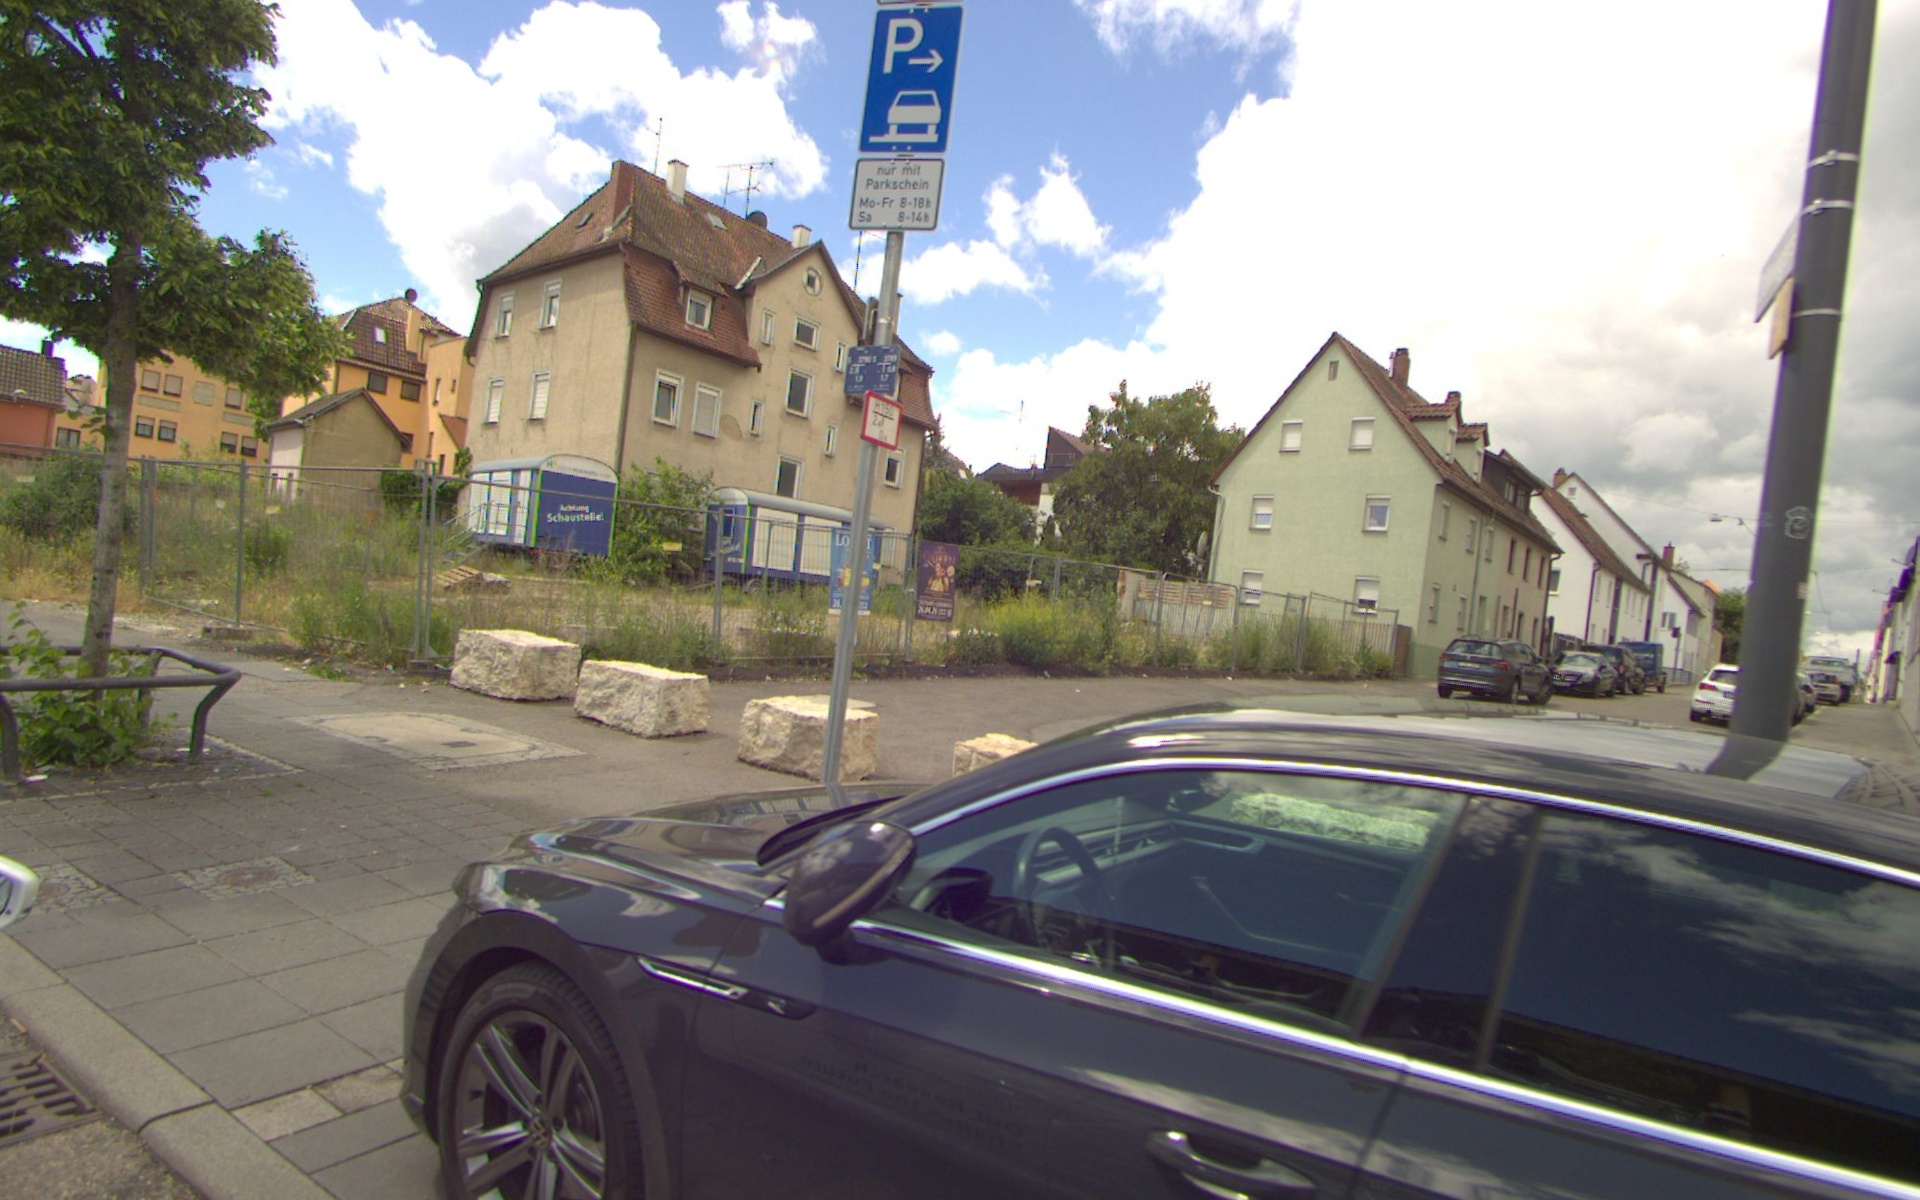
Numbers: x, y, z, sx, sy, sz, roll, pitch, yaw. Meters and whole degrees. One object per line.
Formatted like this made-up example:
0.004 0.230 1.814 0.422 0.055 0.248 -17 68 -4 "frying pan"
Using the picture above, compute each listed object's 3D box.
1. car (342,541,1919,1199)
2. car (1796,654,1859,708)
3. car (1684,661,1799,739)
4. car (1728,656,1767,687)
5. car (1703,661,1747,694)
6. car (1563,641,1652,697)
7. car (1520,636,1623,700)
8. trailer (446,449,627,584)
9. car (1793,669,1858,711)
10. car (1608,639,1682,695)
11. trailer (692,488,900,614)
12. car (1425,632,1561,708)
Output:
1.012 0.874 1.956 4.567 1.469 1.866 7 0 32 "car"
45.497 4.241 52.737 1.973 2.363 5.042 11 4 43 "car"
21.295 2.647 27.358 1.843 1.628 4.234 11 5 43 "car"
61.945 5.615 79.115 1.800 2.097 3.976 9 2 44 "car"
54.255 5.508 71.315 1.800 2.097 3.976 9 2 44 "car"
24.734 2.641 38.361 1.973 1.773 3.976 9 2 44 "car"
20.490 2.295 33.656 1.973 1.773 3.976 9 2 44 "car"
-12.035 -2.342 28.285 2.397 3.161 6.082 6 1 -45 "trailer"
41.112 4.233 47.761 1.973 1.573 3.975 11 4 43 "car"
29.656 2.920 43.498 1.800 2.097 3.976 9 2 44 "car"
-5.041 -1.456 31.833 2.379 3.161 6.130 7 0 41 "trailer"
14.065 1.859 26.445 4.233 1.627 1.845 5 2 -45 "car"
